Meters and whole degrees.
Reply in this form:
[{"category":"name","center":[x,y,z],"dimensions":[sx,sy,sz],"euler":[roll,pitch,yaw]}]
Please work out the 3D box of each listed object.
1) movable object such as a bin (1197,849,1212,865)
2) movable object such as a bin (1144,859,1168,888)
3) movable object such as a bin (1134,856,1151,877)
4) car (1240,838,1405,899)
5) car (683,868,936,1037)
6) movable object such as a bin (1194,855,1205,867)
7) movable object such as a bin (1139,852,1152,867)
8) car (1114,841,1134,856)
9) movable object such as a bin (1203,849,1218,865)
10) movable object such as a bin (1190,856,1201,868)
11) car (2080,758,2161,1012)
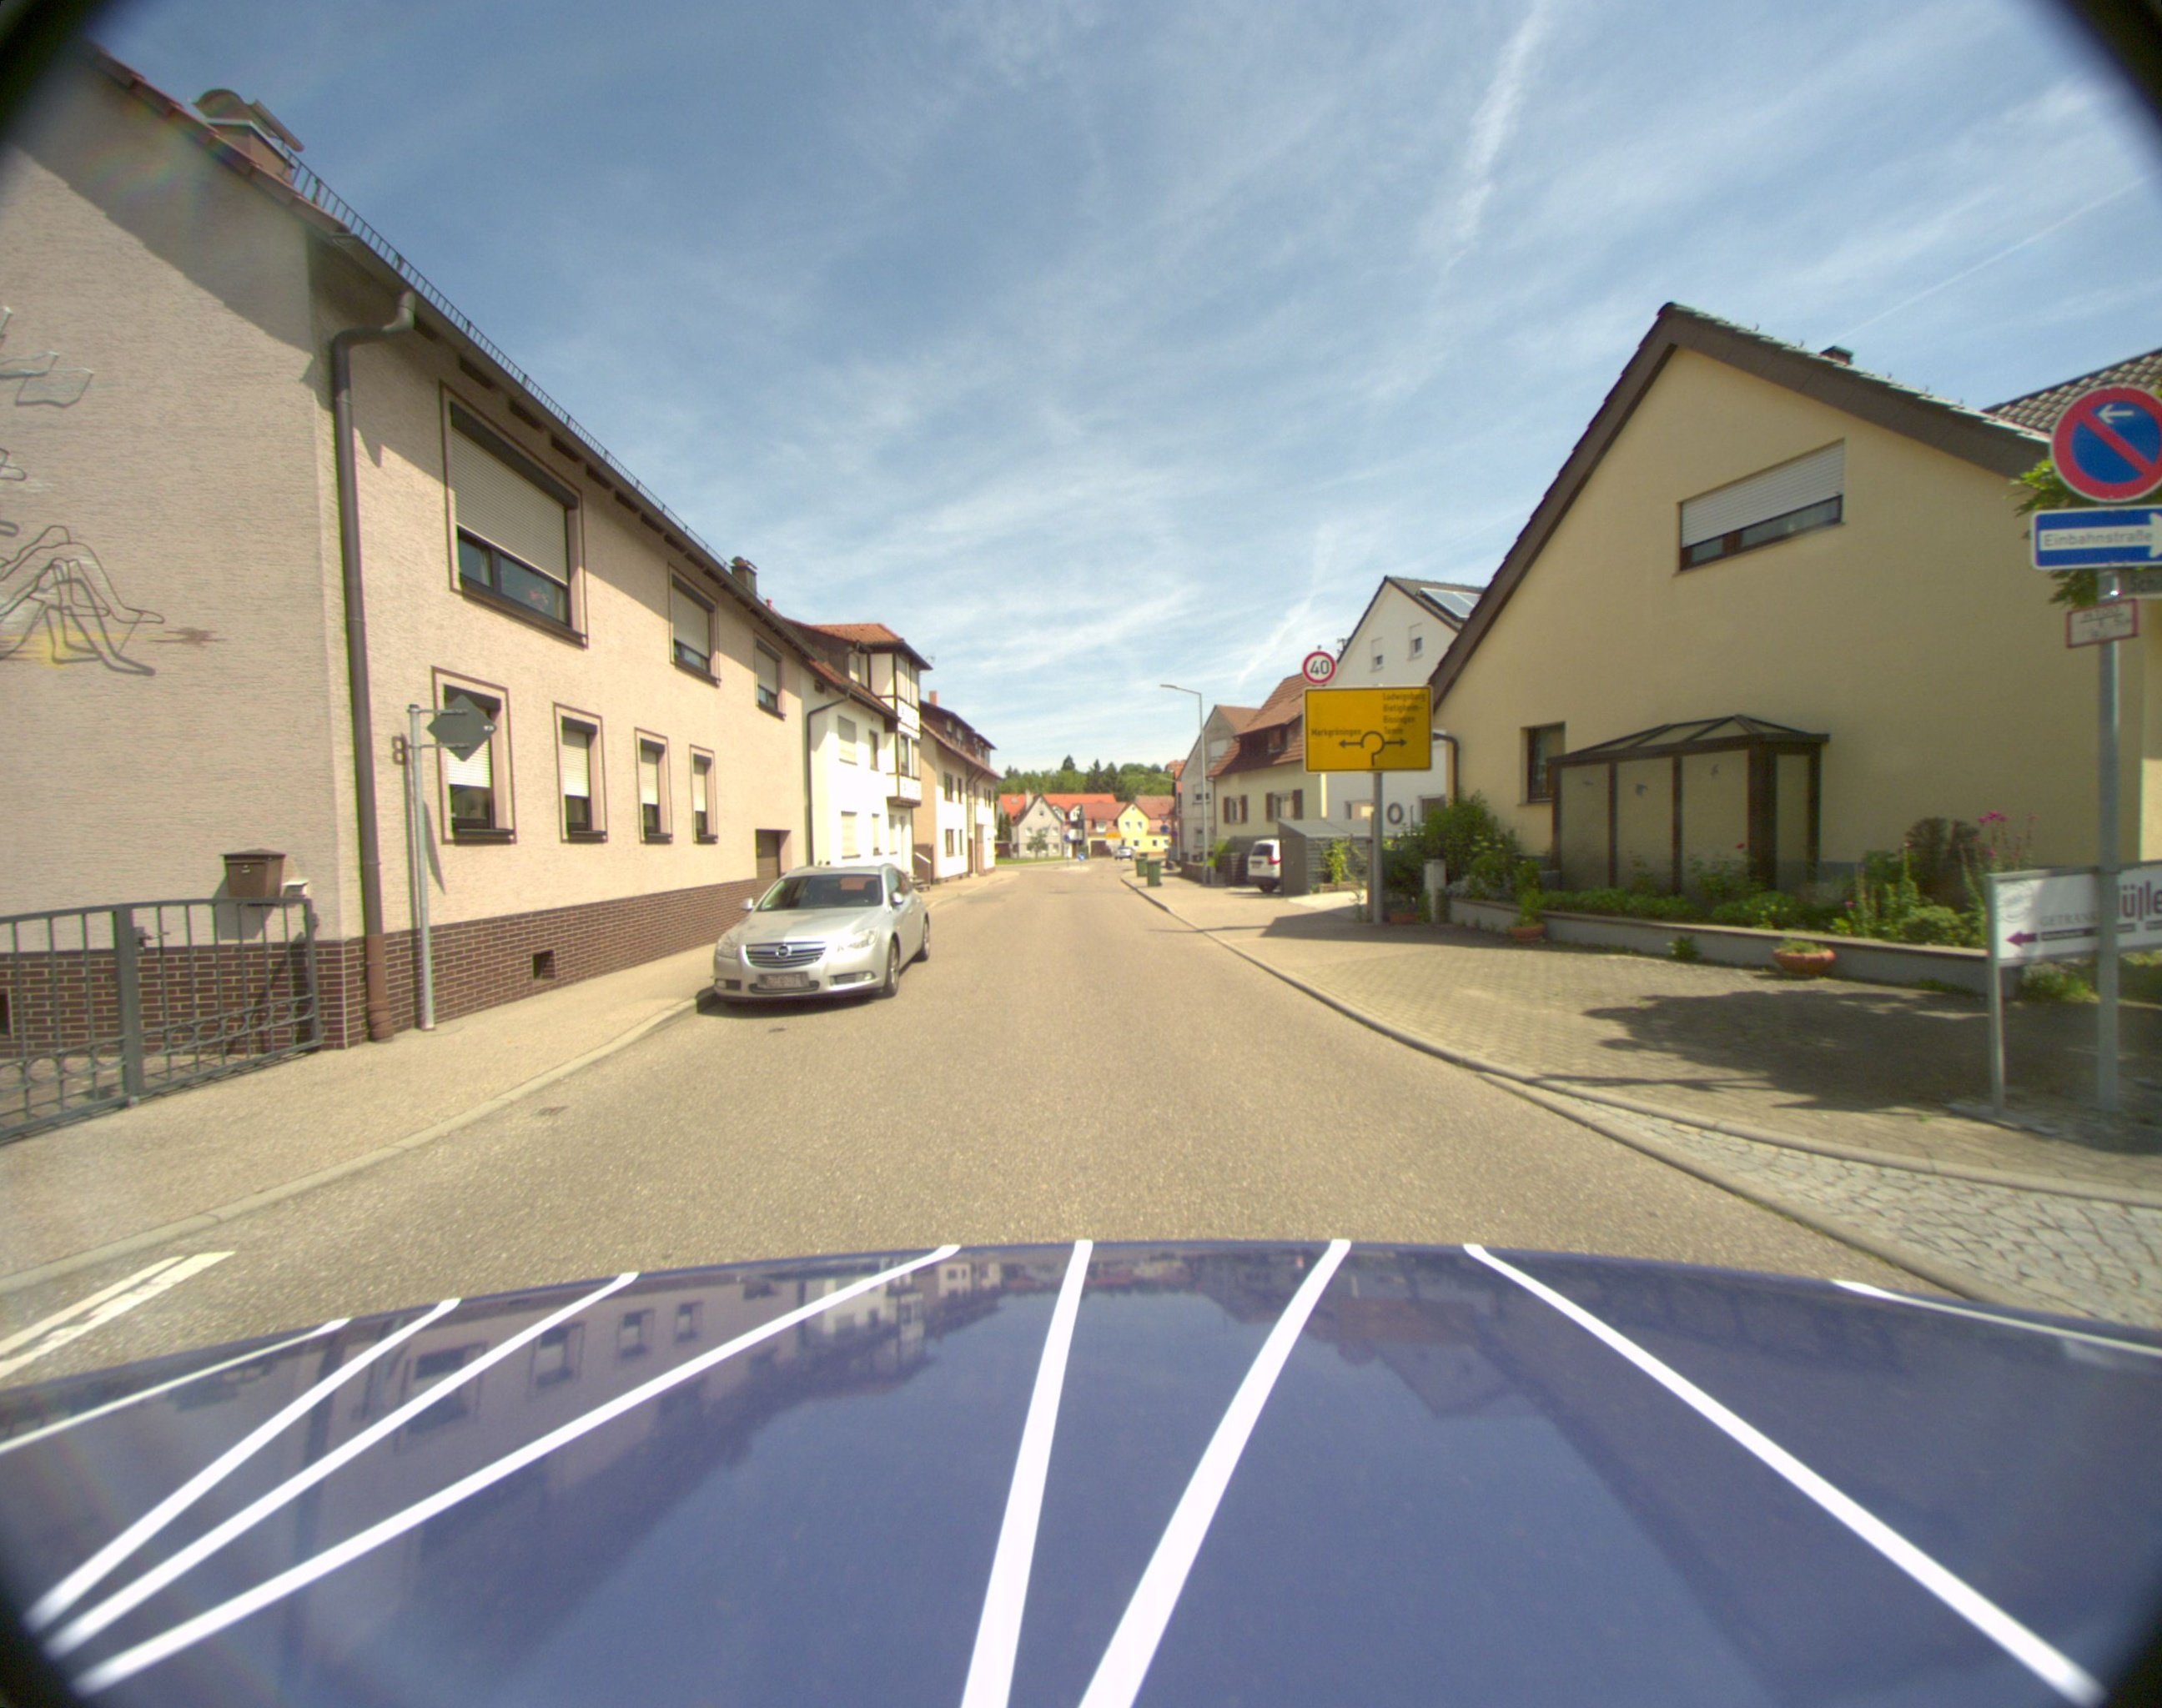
[{"category":"movable object such as a bin","center":[8.403,0.212,51.693],"dimensions":[0.686,1.080,0.643],"euler":[-3,1,-26]},{"category":"movable object such as a bin","center":[2.913,0.763,29.589],"dimensions":[0.828,1.071,0.818],"euler":[-2,1,1]},{"category":"movable object such as a bin","center":[3.269,0.667,40.309],"dimensions":[0.793,1.051,0.650],"euler":[-2,1,-4]},{"category":"car","center":[7.383,0.386,23.394],"dimensions":[4.417,1.613,1.997],"euler":[-2,1,-13]},{"category":"car","center":[-3.020,0.986,9.506],"dimensions":[1.791,1.433,4.335],"euler":[-3,1,-4]},{"category":"movable object such as a bin","center":[8.183,0.465,52.314],"dimensions":[0.487,0.776,0.526],"euler":[-3,1,-26]},{"category":"movable object such as a bin","center":[4.849,0.414,56.963],"dimensions":[0.810,1.039,0.827],"euler":[-2,1,10]},{"category":"car","center":[4.548,-0.546,80.038],"dimensions":[1.959,1.478,4.459],"euler":[-2,1,4]},{"category":"movable object such as a bin","center":[8.721,0.192,51.066],"dimensions":[0.686,1.080,0.697],"euler":[-3,1,-26]},{"category":"movable object such as a bin","center":[7.977,0.564,52.995],"dimensions":[0.487,0.801,0.645],"euler":[-3,1,-25]},{"category":"car","center":[10.676,0.152,5.631],"dimensions":[5.125,1.885,2.172],"euler":[-2,1,-15]}]
